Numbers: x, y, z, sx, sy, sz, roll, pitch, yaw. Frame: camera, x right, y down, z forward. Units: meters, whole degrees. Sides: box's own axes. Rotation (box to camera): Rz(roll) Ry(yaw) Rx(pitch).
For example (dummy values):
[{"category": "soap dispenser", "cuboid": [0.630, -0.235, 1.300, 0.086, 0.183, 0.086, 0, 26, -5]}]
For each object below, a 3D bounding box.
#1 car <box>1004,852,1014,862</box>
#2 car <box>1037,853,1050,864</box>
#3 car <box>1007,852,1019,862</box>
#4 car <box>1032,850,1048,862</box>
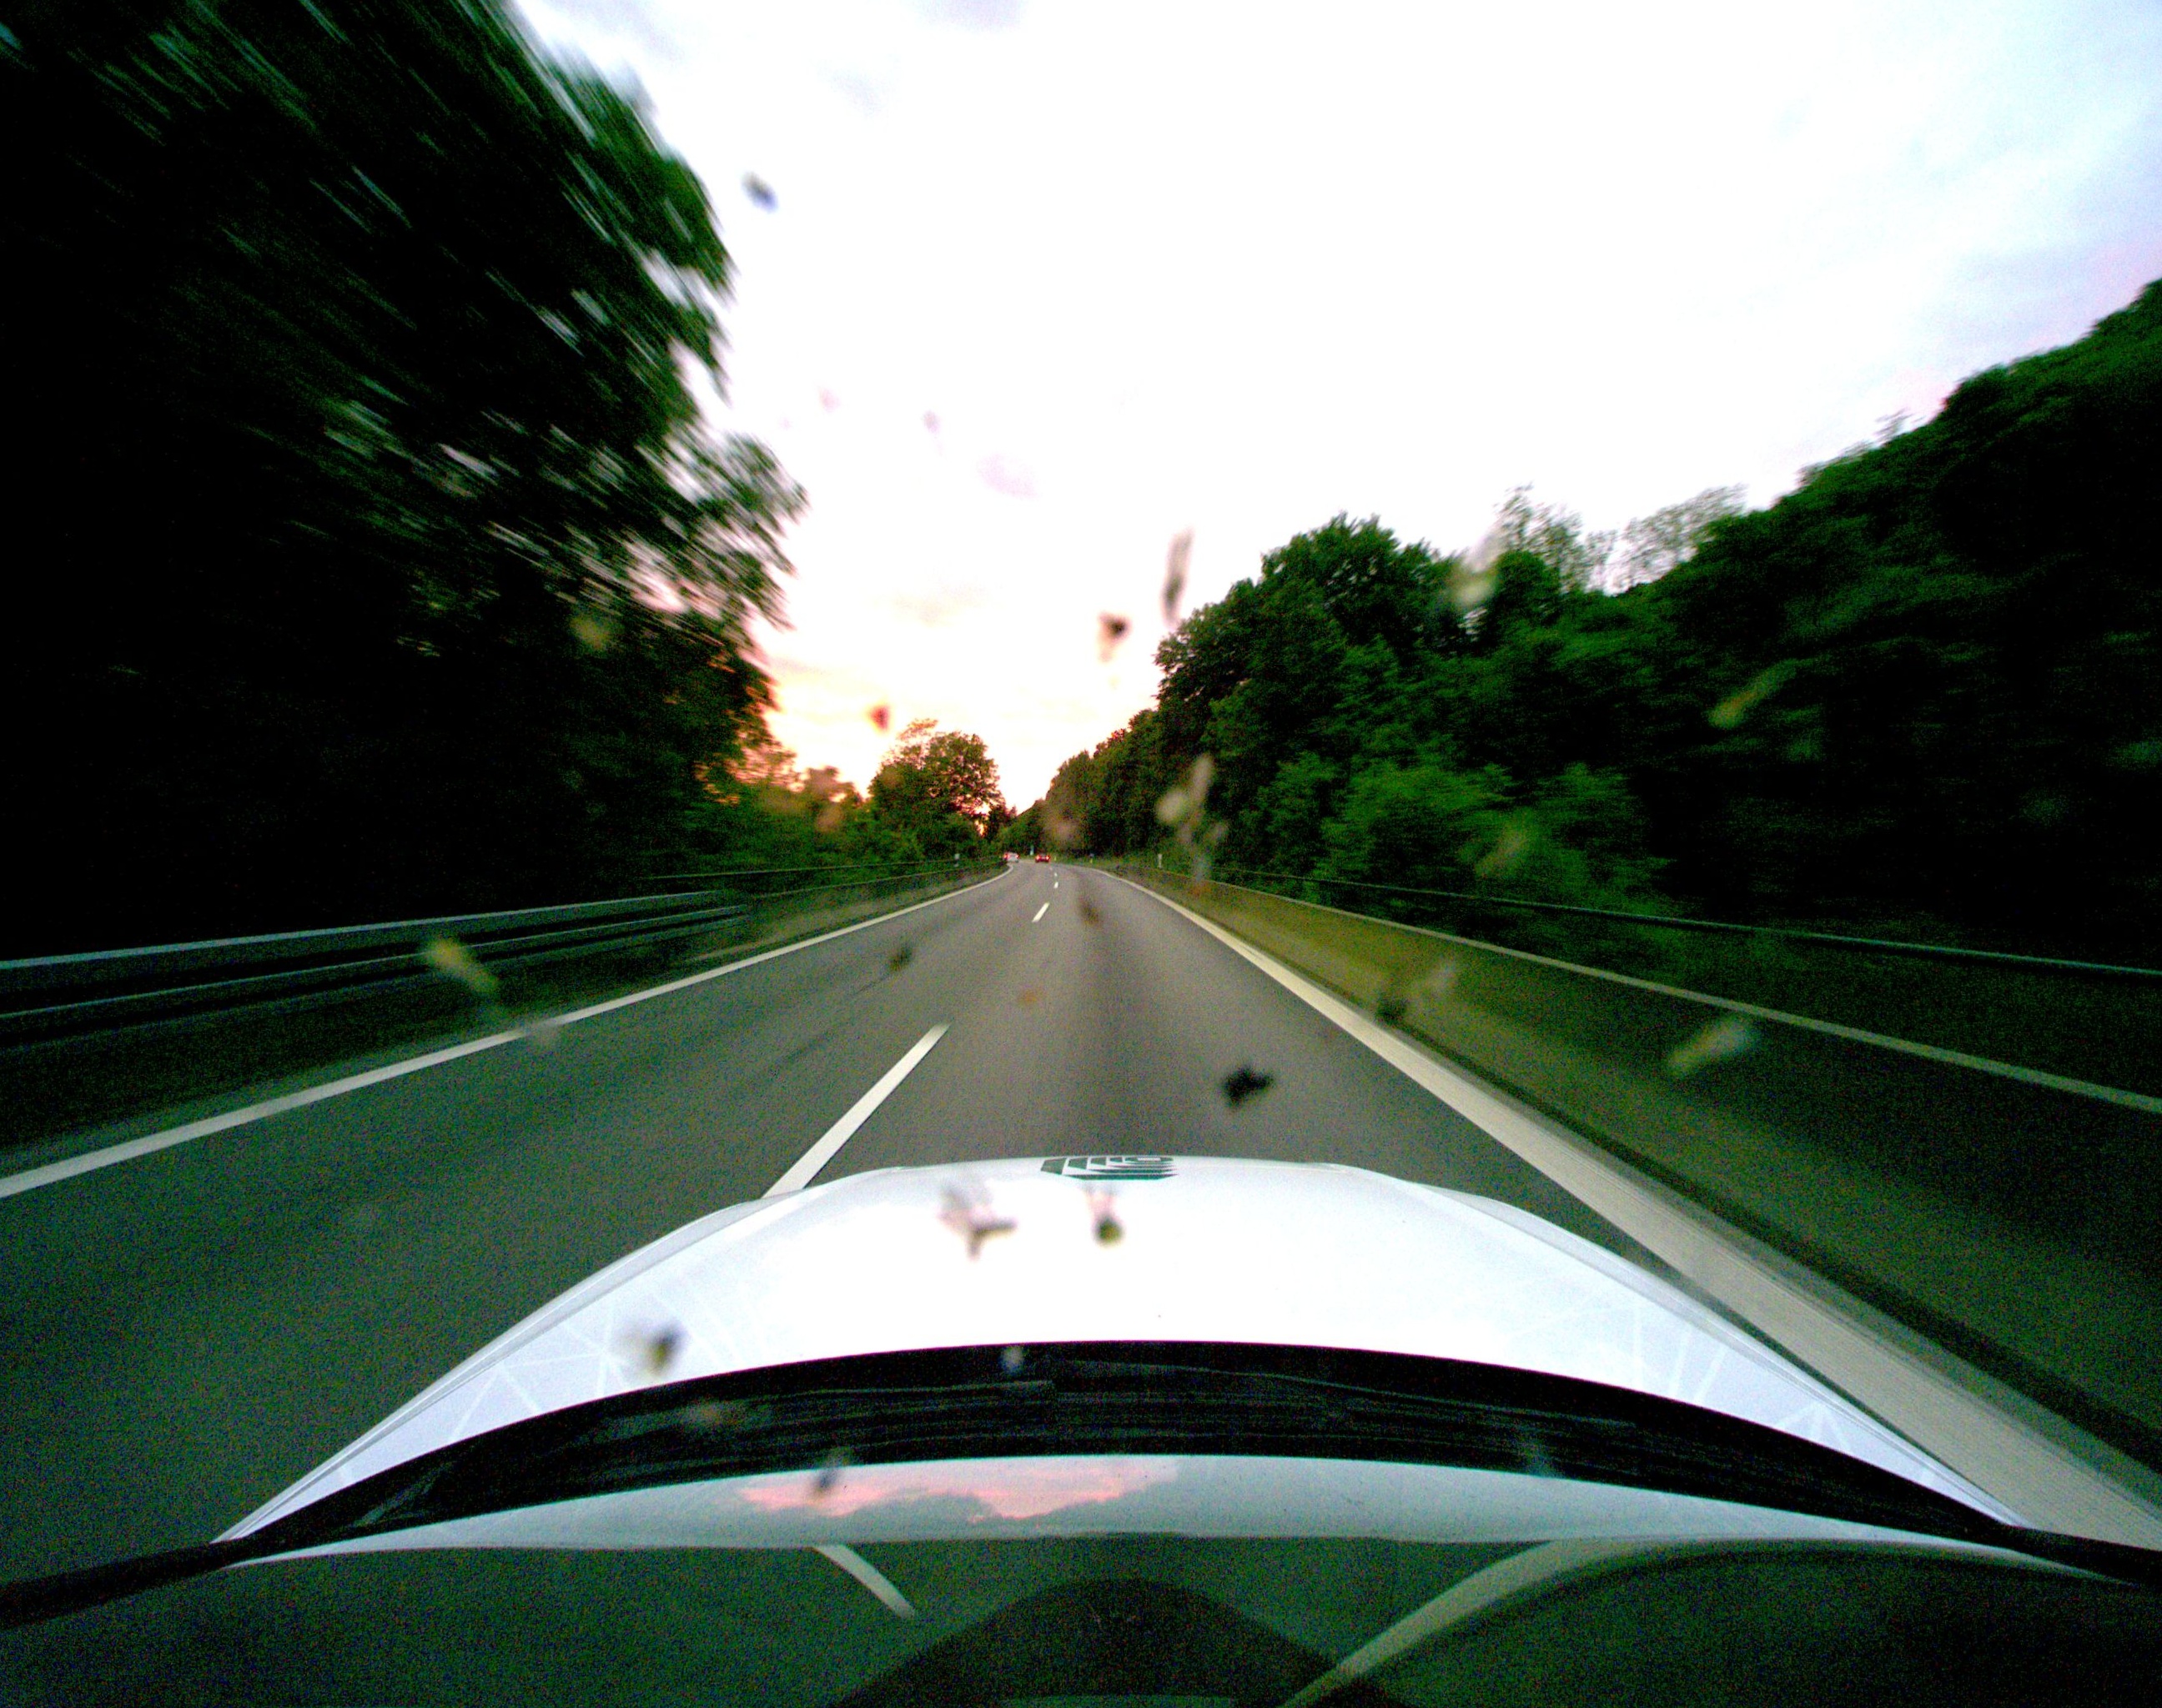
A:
[{"category": "car", "cuboid": [-12.682, 0.491, 143.718, 1.714, 1.635, 3.995, -1, -2, -3]}, {"category": "car", "cuboid": [-5.222, 0.653, 113.859, 1.873, 1.466, 3.997, 1, 0, -2]}, {"category": "car", "cuboid": [-11.010, 0.546, 131.908, 1.715, 1.501, 3.994, 1, -2, -4]}, {"category": "car", "cuboid": [-6.418, 0.316, 127.969, 1.993, 1.646, 3.986, 3, -3, -9]}]
